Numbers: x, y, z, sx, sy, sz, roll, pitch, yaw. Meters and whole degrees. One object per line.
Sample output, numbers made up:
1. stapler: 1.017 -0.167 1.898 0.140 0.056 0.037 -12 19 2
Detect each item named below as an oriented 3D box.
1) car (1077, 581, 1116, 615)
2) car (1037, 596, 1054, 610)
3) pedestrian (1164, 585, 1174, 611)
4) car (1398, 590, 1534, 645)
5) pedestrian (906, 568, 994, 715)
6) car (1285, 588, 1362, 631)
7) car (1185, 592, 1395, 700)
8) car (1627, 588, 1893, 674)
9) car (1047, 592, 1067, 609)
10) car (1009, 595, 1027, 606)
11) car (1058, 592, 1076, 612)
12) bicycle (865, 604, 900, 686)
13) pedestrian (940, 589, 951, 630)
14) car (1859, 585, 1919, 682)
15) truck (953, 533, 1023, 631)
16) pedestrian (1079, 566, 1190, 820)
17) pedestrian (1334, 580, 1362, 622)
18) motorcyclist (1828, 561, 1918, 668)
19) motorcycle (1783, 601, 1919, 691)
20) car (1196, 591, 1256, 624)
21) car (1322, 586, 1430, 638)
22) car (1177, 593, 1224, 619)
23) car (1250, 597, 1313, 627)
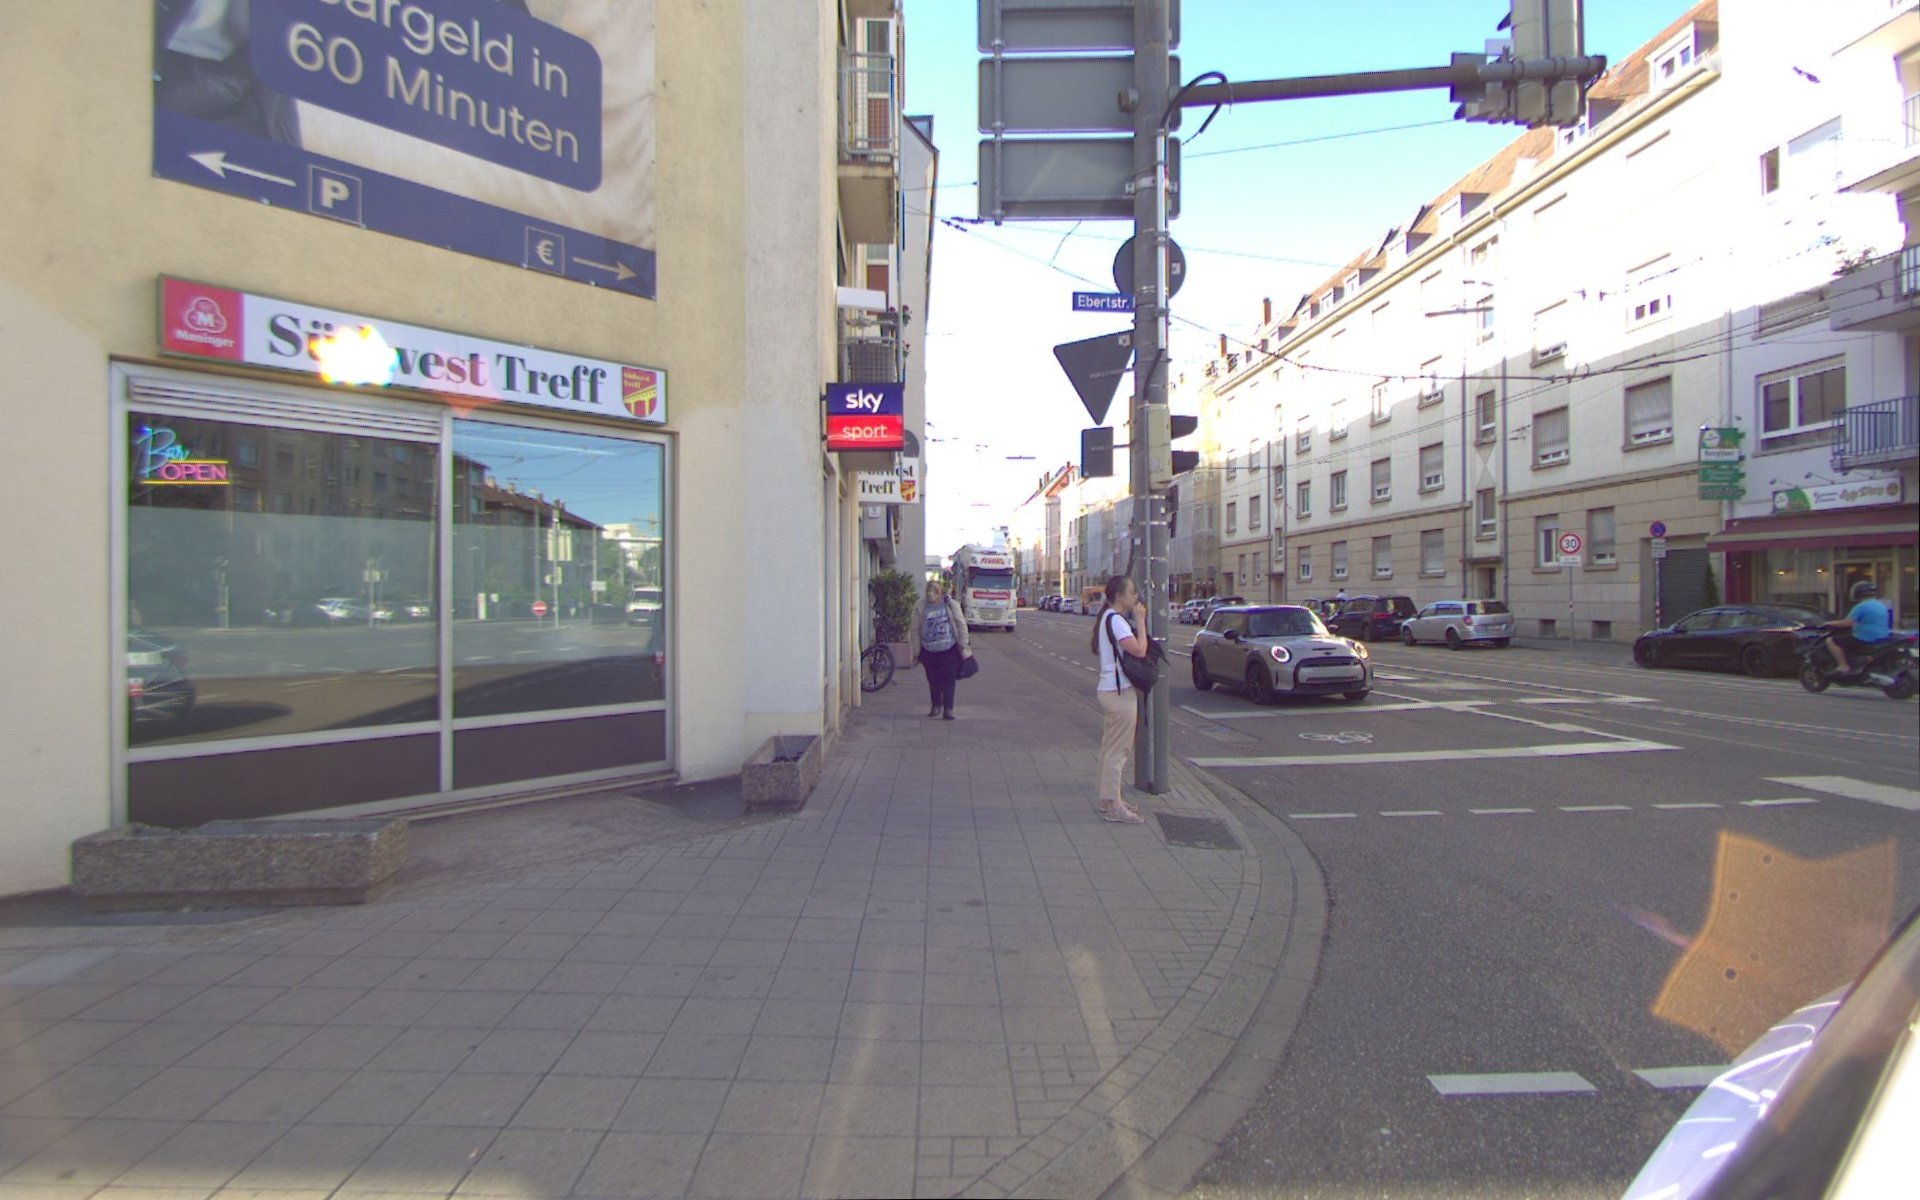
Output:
1. car: 11.612 -0.220 86.764 2.173 2.730 5.877 -3 1 -3
2. car: 10.308 0.335 121.663 1.504 1.546 3.602 -3 1 -2
3. pedestrian: 15.644 -0.149 75.742 0.509 1.895 0.763 -2 0 -3
4. car: 15.556 0.487 31.409 1.696 1.472 4.375 -3 1 -4
5. pedestrian: -0.133 0.470 11.647 0.869 1.612 0.812 2 -1 -8
6. car: 14.927 0.356 41.741 1.612 1.578 3.598 -3 1 -3
7. car: 5.085 0.664 16.171 1.694 1.443 3.821 -3 0 -6
8. car: 16.172 0.540 20.828 1.740 1.493 4.448 -3 1 -3
9. car: 10.591 0.057 110.471 1.540 1.705 3.939 -3 1 -2
10. car: 8.744 0.010 152.860 2.189 1.546 4.963 -3 1 -2
11. car: 11.073 0.150 104.728 1.630 1.946 3.761 -3 1 4
12. bicycle: -1.191 0.666 15.774 0.488 1.176 1.778 -1 1 -3
13. pedestrian: -0.591 0.383 41.121 0.466 1.650 0.467 0 0 -1
14. car: 16.259 0.491 15.018 1.739 1.522 4.241 -3 0 -5
15. truck: 1.201 -0.896 50.386 2.649 4.291 11.784 -1 1 -2
16. pedestrian: 1.231 0.602 7.081 0.535 1.643 0.728 4 2 22
17. pedestrian: 17.229 0.047 44.981 0.650 1.789 1.007 -2 0 -10
18. motorcyclist: 13.304 0.214 14.765 0.681 1.516 0.685 1 -1 -7
19. motorcycle: 13.291 0.647 14.817 0.699 1.235 1.968 1 -1 -8
20. car: 14.280 0.366 54.565 1.718 1.629 4.163 -3 1 -4
21. car: 15.090 0.392 36.984 1.784 1.653 4.329 -3 1 -4
22. car: 13.969 0.341 58.952 1.535 1.397 3.511 -3 1 -4
23. car: 14.661 0.515 46.357 1.447 1.235 3.527 -3 1 -4
